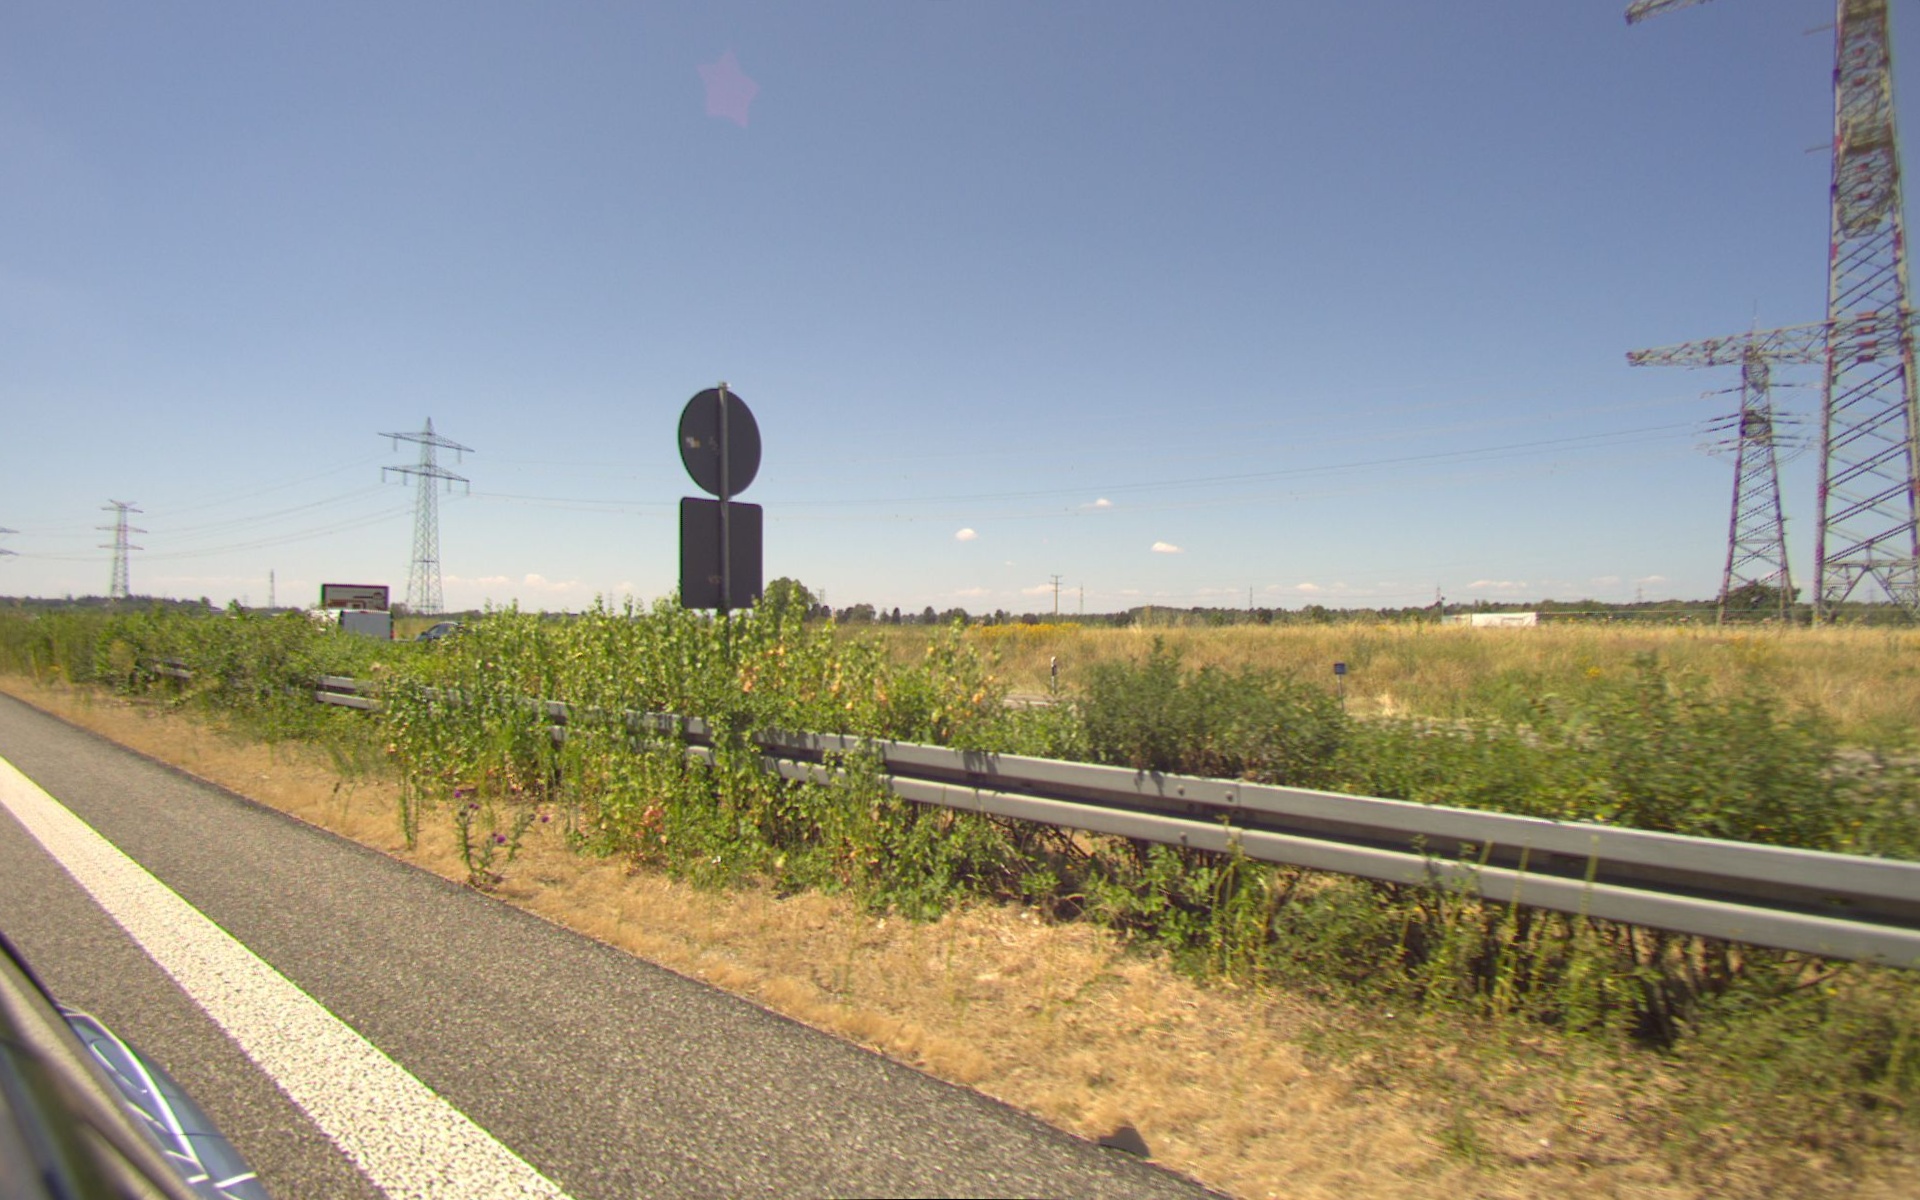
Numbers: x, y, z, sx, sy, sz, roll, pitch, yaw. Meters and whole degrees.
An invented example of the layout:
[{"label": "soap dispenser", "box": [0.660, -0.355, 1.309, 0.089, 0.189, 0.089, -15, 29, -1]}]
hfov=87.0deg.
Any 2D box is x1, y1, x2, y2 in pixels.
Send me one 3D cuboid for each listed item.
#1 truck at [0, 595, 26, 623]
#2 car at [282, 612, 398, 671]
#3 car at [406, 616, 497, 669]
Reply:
[{"label": "truck", "box": [-147.759, 1.397, 157.197, 9.648, 4.115, 3.172, 0, -2, 43]}, {"label": "car", "box": [-22.885, 1.478, 37.237, 5.835, 2.002, 1.976, -1, -1, 41]}, {"label": "car", "box": [-20.299, 1.642, 40.346, 3.984, 1.993, 1.876, -1, -1, 41]}]
